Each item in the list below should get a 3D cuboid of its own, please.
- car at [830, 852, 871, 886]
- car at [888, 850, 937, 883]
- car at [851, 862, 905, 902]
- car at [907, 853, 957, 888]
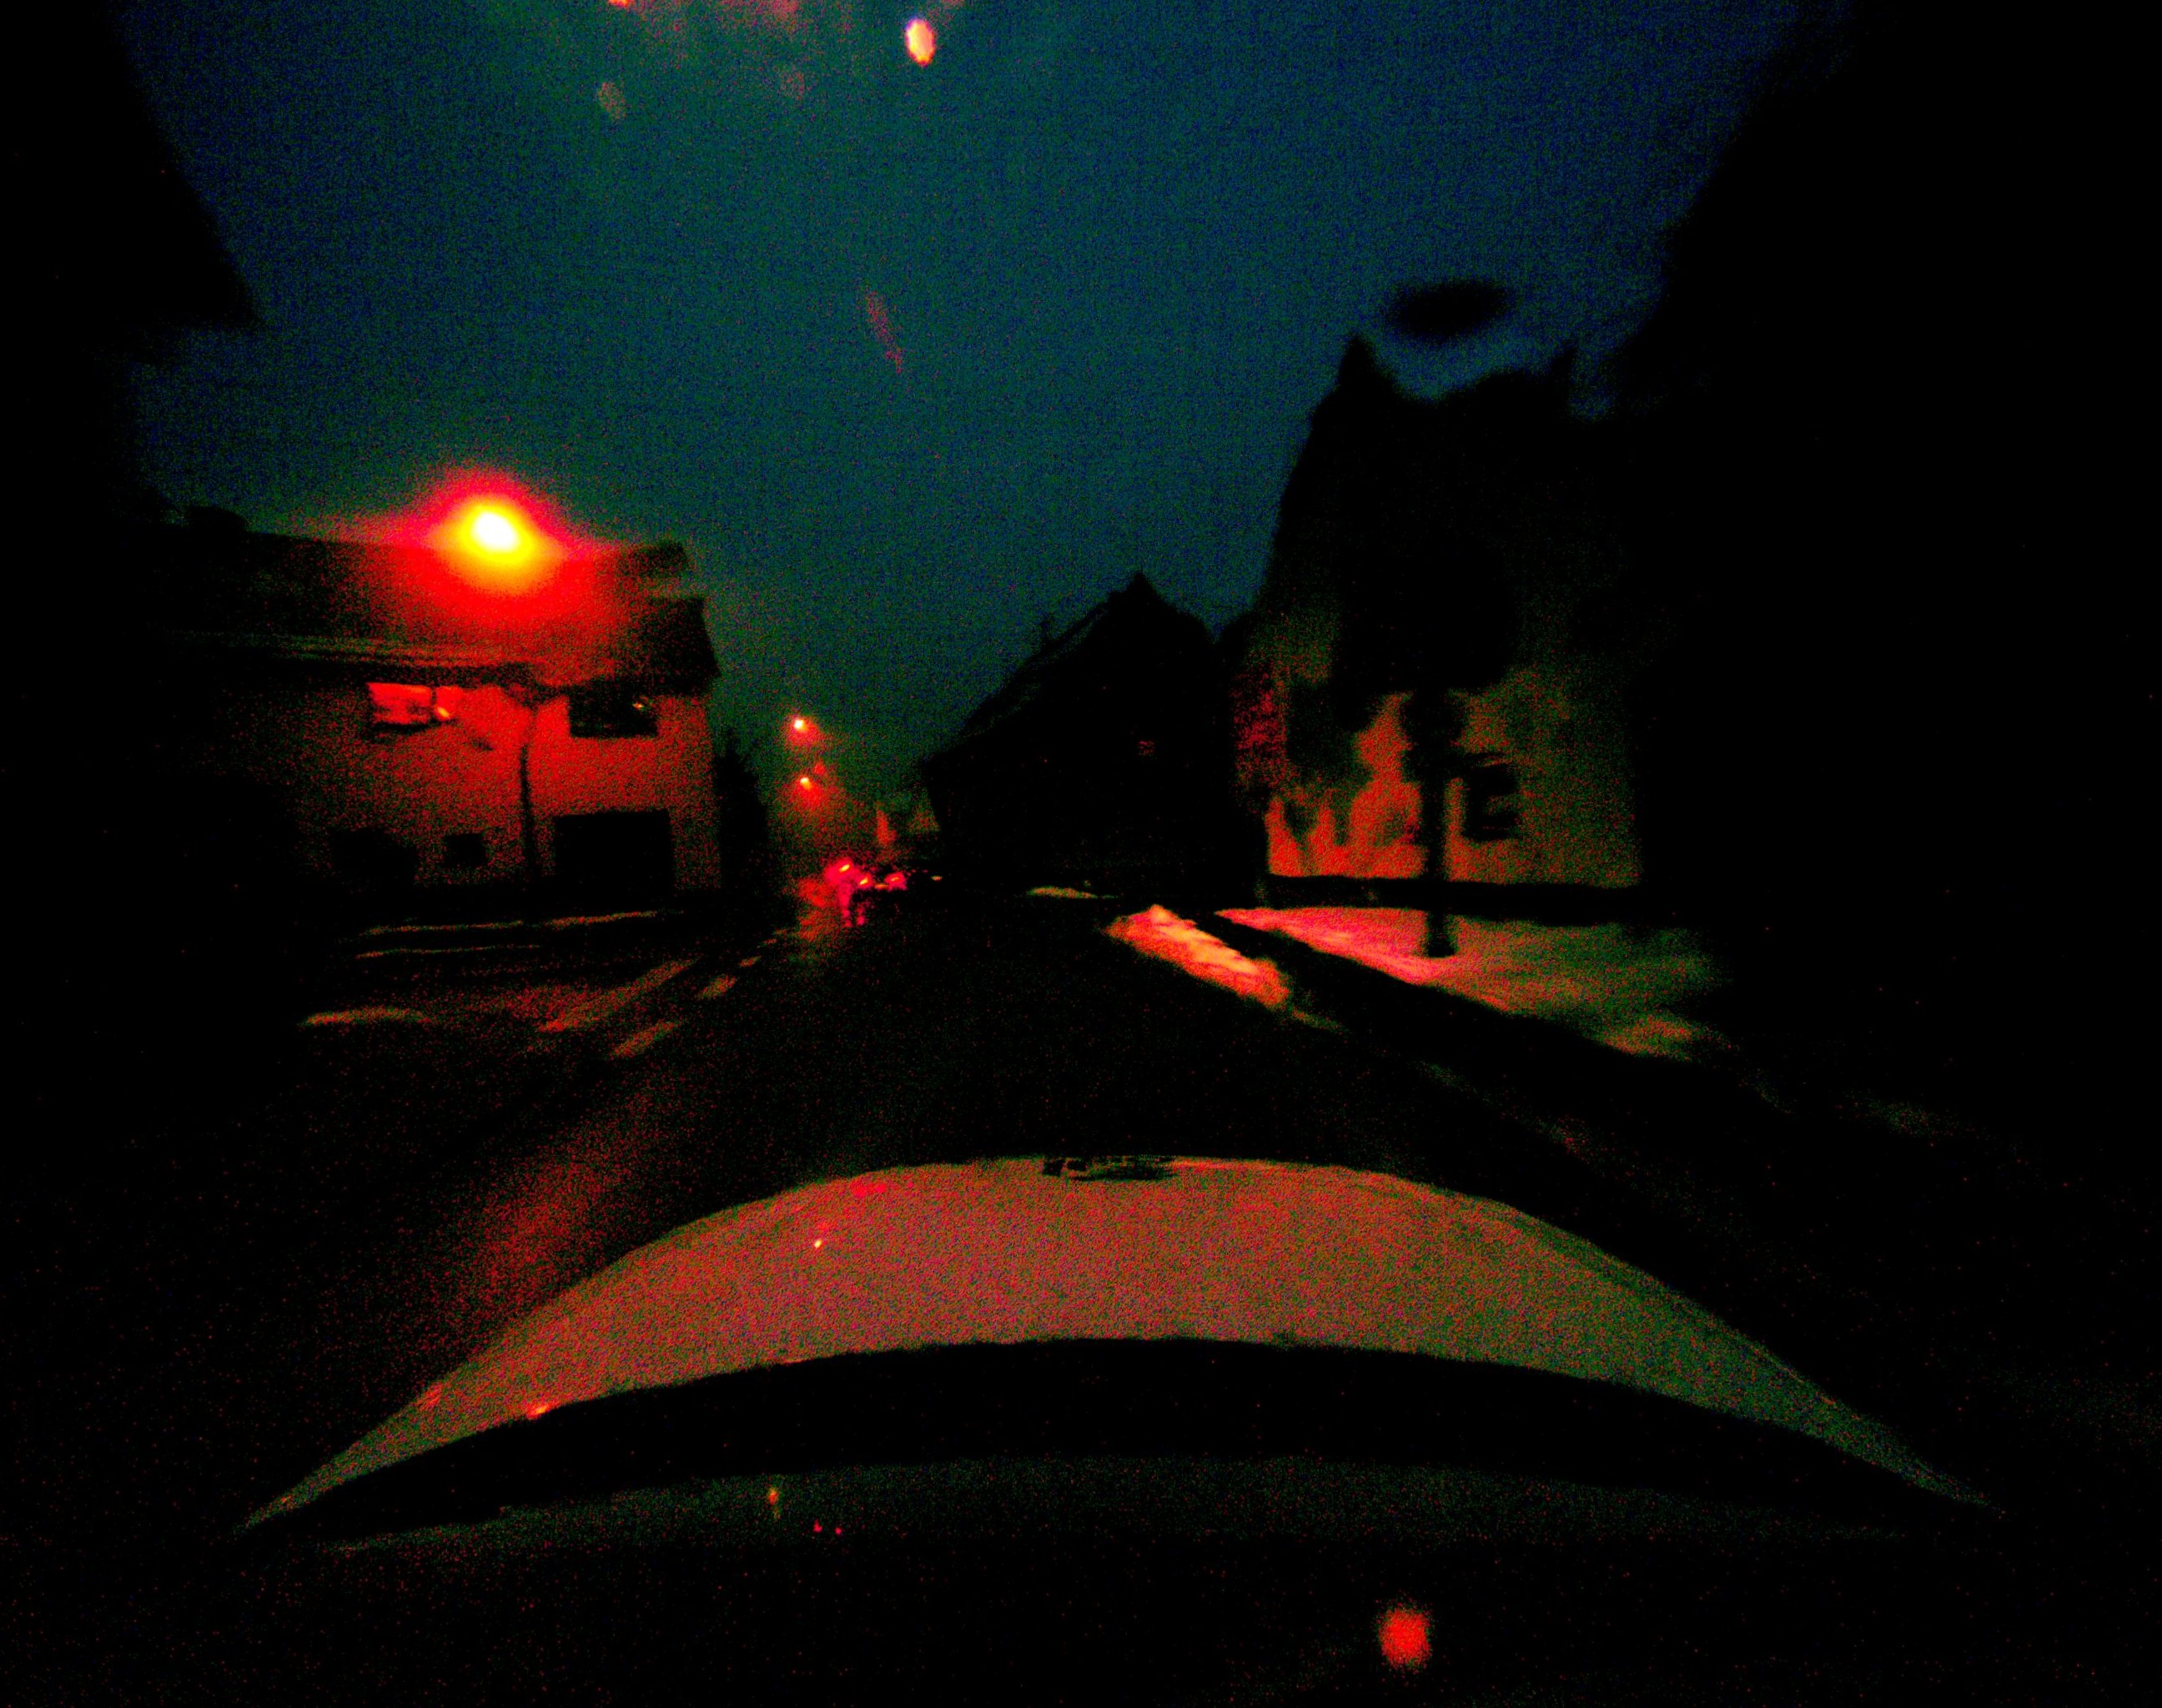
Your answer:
[{"bbox_3d":[-12.302,0.819,43.510,1.998,1.728,3.978,-1,-1,-16],"label":"car"},{"bbox_3d":[-8.781,0.629,42.172,1.916,1.481,4.255,-3,0,-18],"label":"car"},{"bbox_3d":[-8.429,1.148,33.619,1.998,1.508,3.977,-1,-1,-16],"label":"car"},{"bbox_3d":[-6.836,0.759,37.065,1.721,1.500,3.882,-1,-1,-18],"label":"car"}]
